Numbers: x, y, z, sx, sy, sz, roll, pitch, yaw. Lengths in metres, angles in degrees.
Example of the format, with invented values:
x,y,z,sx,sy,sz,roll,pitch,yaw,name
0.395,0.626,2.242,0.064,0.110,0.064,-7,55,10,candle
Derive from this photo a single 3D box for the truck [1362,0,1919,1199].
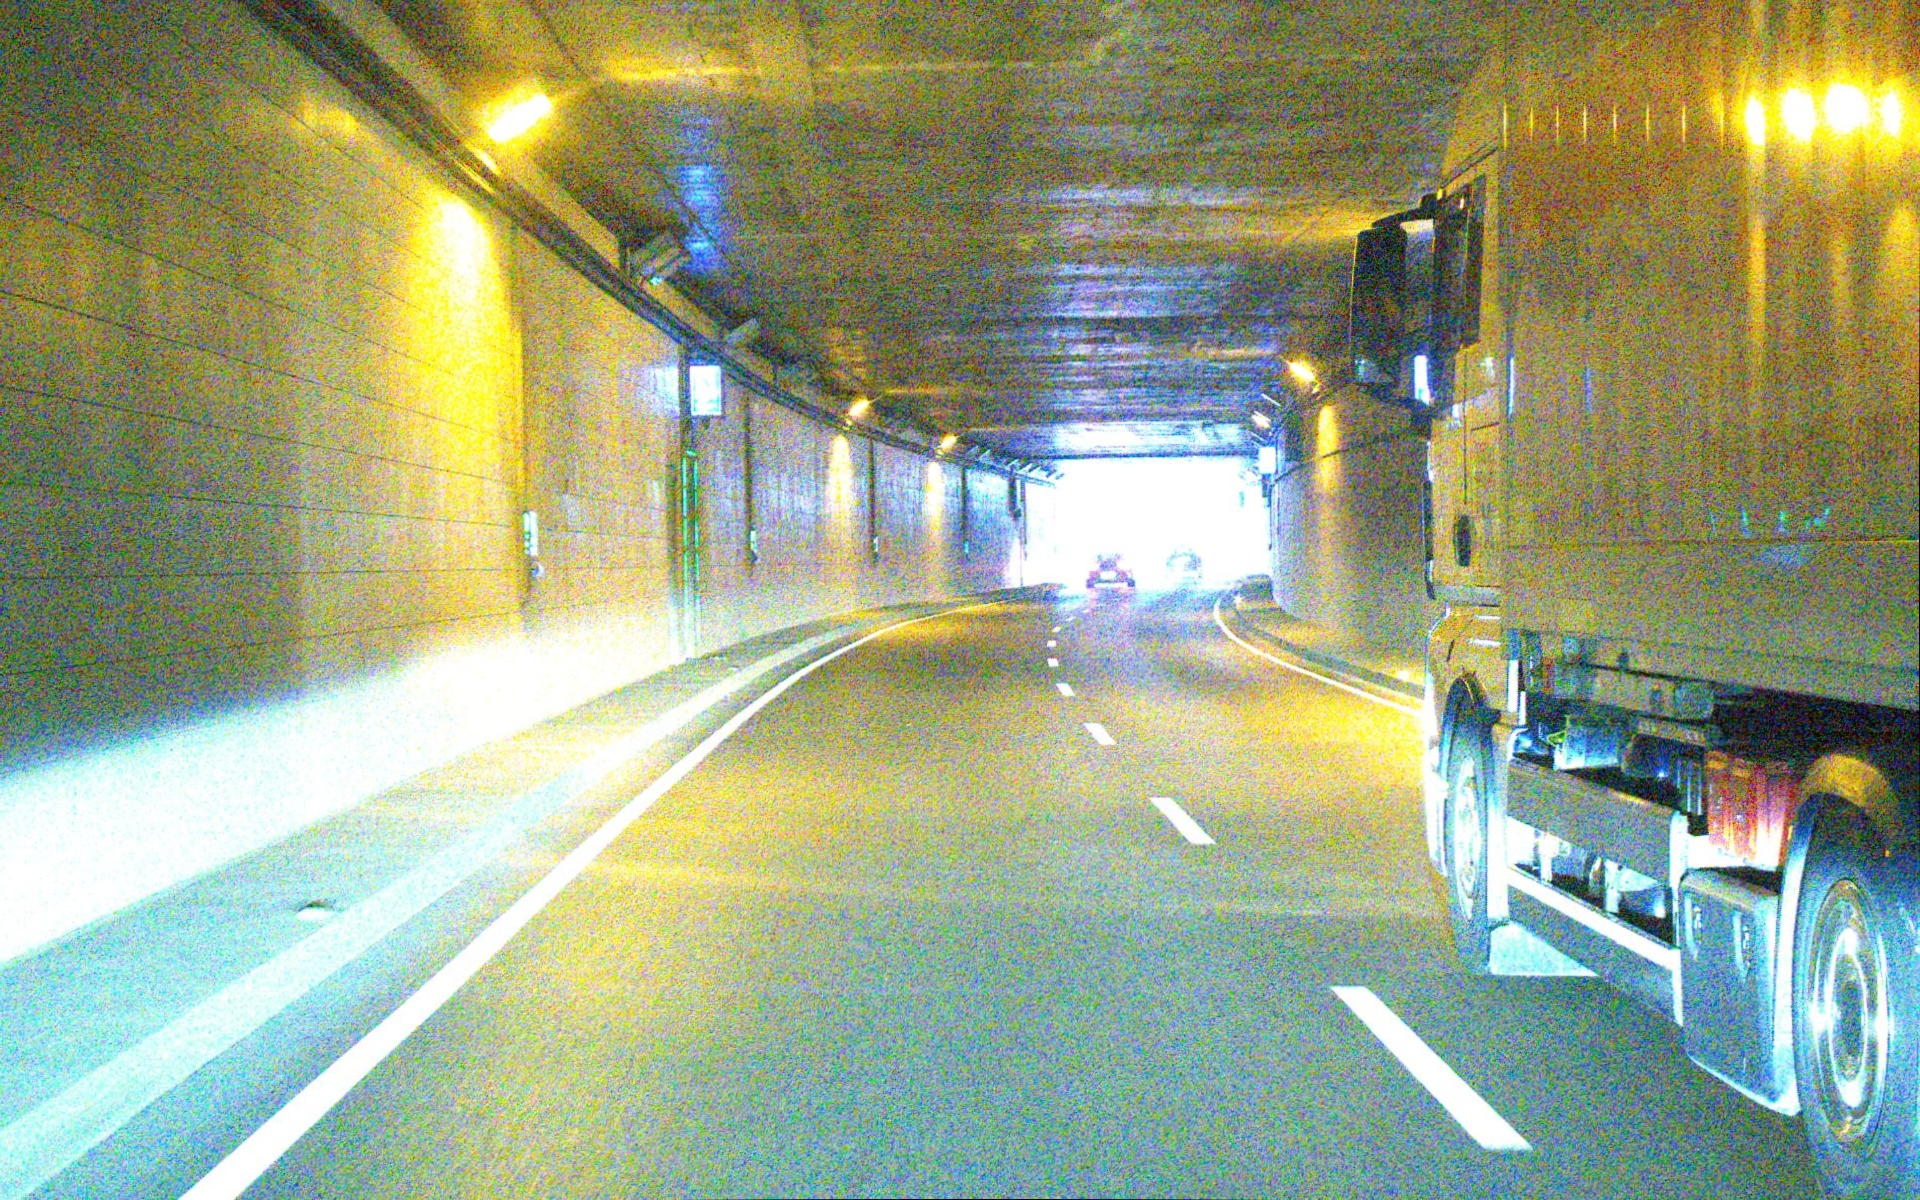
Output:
x,y,z,sx,sy,sz,roll,pitch,yaw,name
3.152,-0.605,8.637,2.888,3.900,9.910,0,1,-1,truck

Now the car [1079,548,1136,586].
x,y,z,sx,sy,sz,roll,pitch,yaw,name
5.645,-1.259,131.342,1.841,1.384,3.999,0,0,7,car

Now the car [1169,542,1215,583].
x,y,z,sx,sy,sz,roll,pitch,yaw,name
10.159,-1.640,150.463,1.870,1.726,3.999,0,0,6,car
